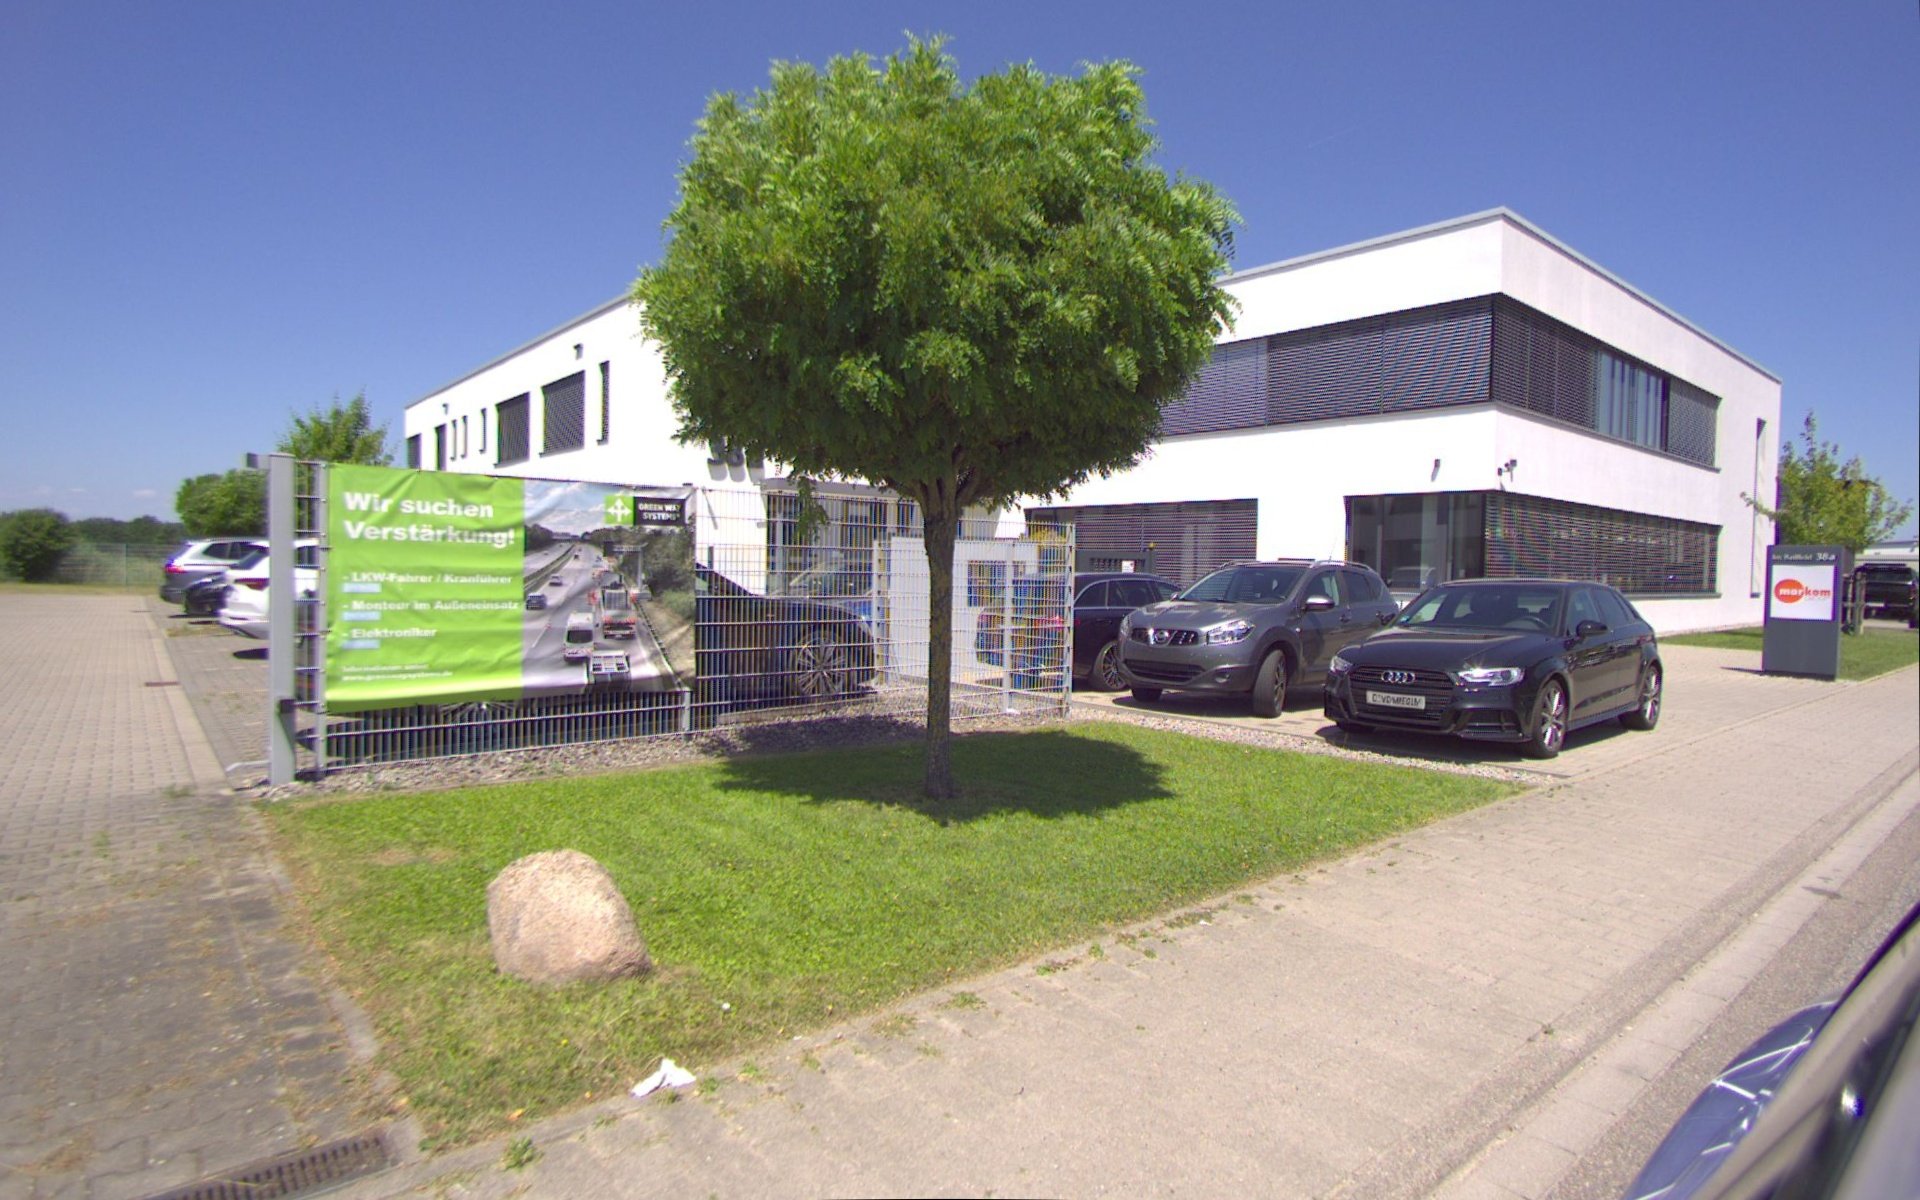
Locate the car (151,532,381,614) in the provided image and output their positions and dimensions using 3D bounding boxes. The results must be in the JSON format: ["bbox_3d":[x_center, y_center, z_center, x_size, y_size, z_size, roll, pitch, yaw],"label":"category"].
[{"bbox_3d":[-15.244,-0.663,22.338,3.985,1.624,1.742,-3,4,-41],"label":"car"}]

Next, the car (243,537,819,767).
[{"bbox_3d":[-3.317,0.215,8.279,3.985,1.415,1.742,-3,4,-41],"label":"car"}]

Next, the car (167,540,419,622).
[{"bbox_3d":[-13.216,-0.449,20.173,3.985,1.447,1.742,-3,4,-41],"label":"car"}]

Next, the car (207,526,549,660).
[{"bbox_3d":[-8.256,-0.210,14.557,3.985,1.656,1.742,-3,4,-41],"label":"car"}]

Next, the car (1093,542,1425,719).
[{"bbox_3d":[3.464,0.239,11.386,3.952,1.653,1.726,-1,2,-41],"label":"car"}]

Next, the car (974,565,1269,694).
[{"bbox_3d":[2.231,0.287,13.405,3.952,1.467,1.726,-1,2,-41],"label":"car"}]

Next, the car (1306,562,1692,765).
[{"bbox_3d":[5.035,0.408,9.207,4.171,1.445,1.695,-1,2,-41],"label":"car"}]

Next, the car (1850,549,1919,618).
[{"bbox_3d":[31.038,-0.469,33.262,5.699,2.038,1.997,2,1,-42],"label":"car"}]
